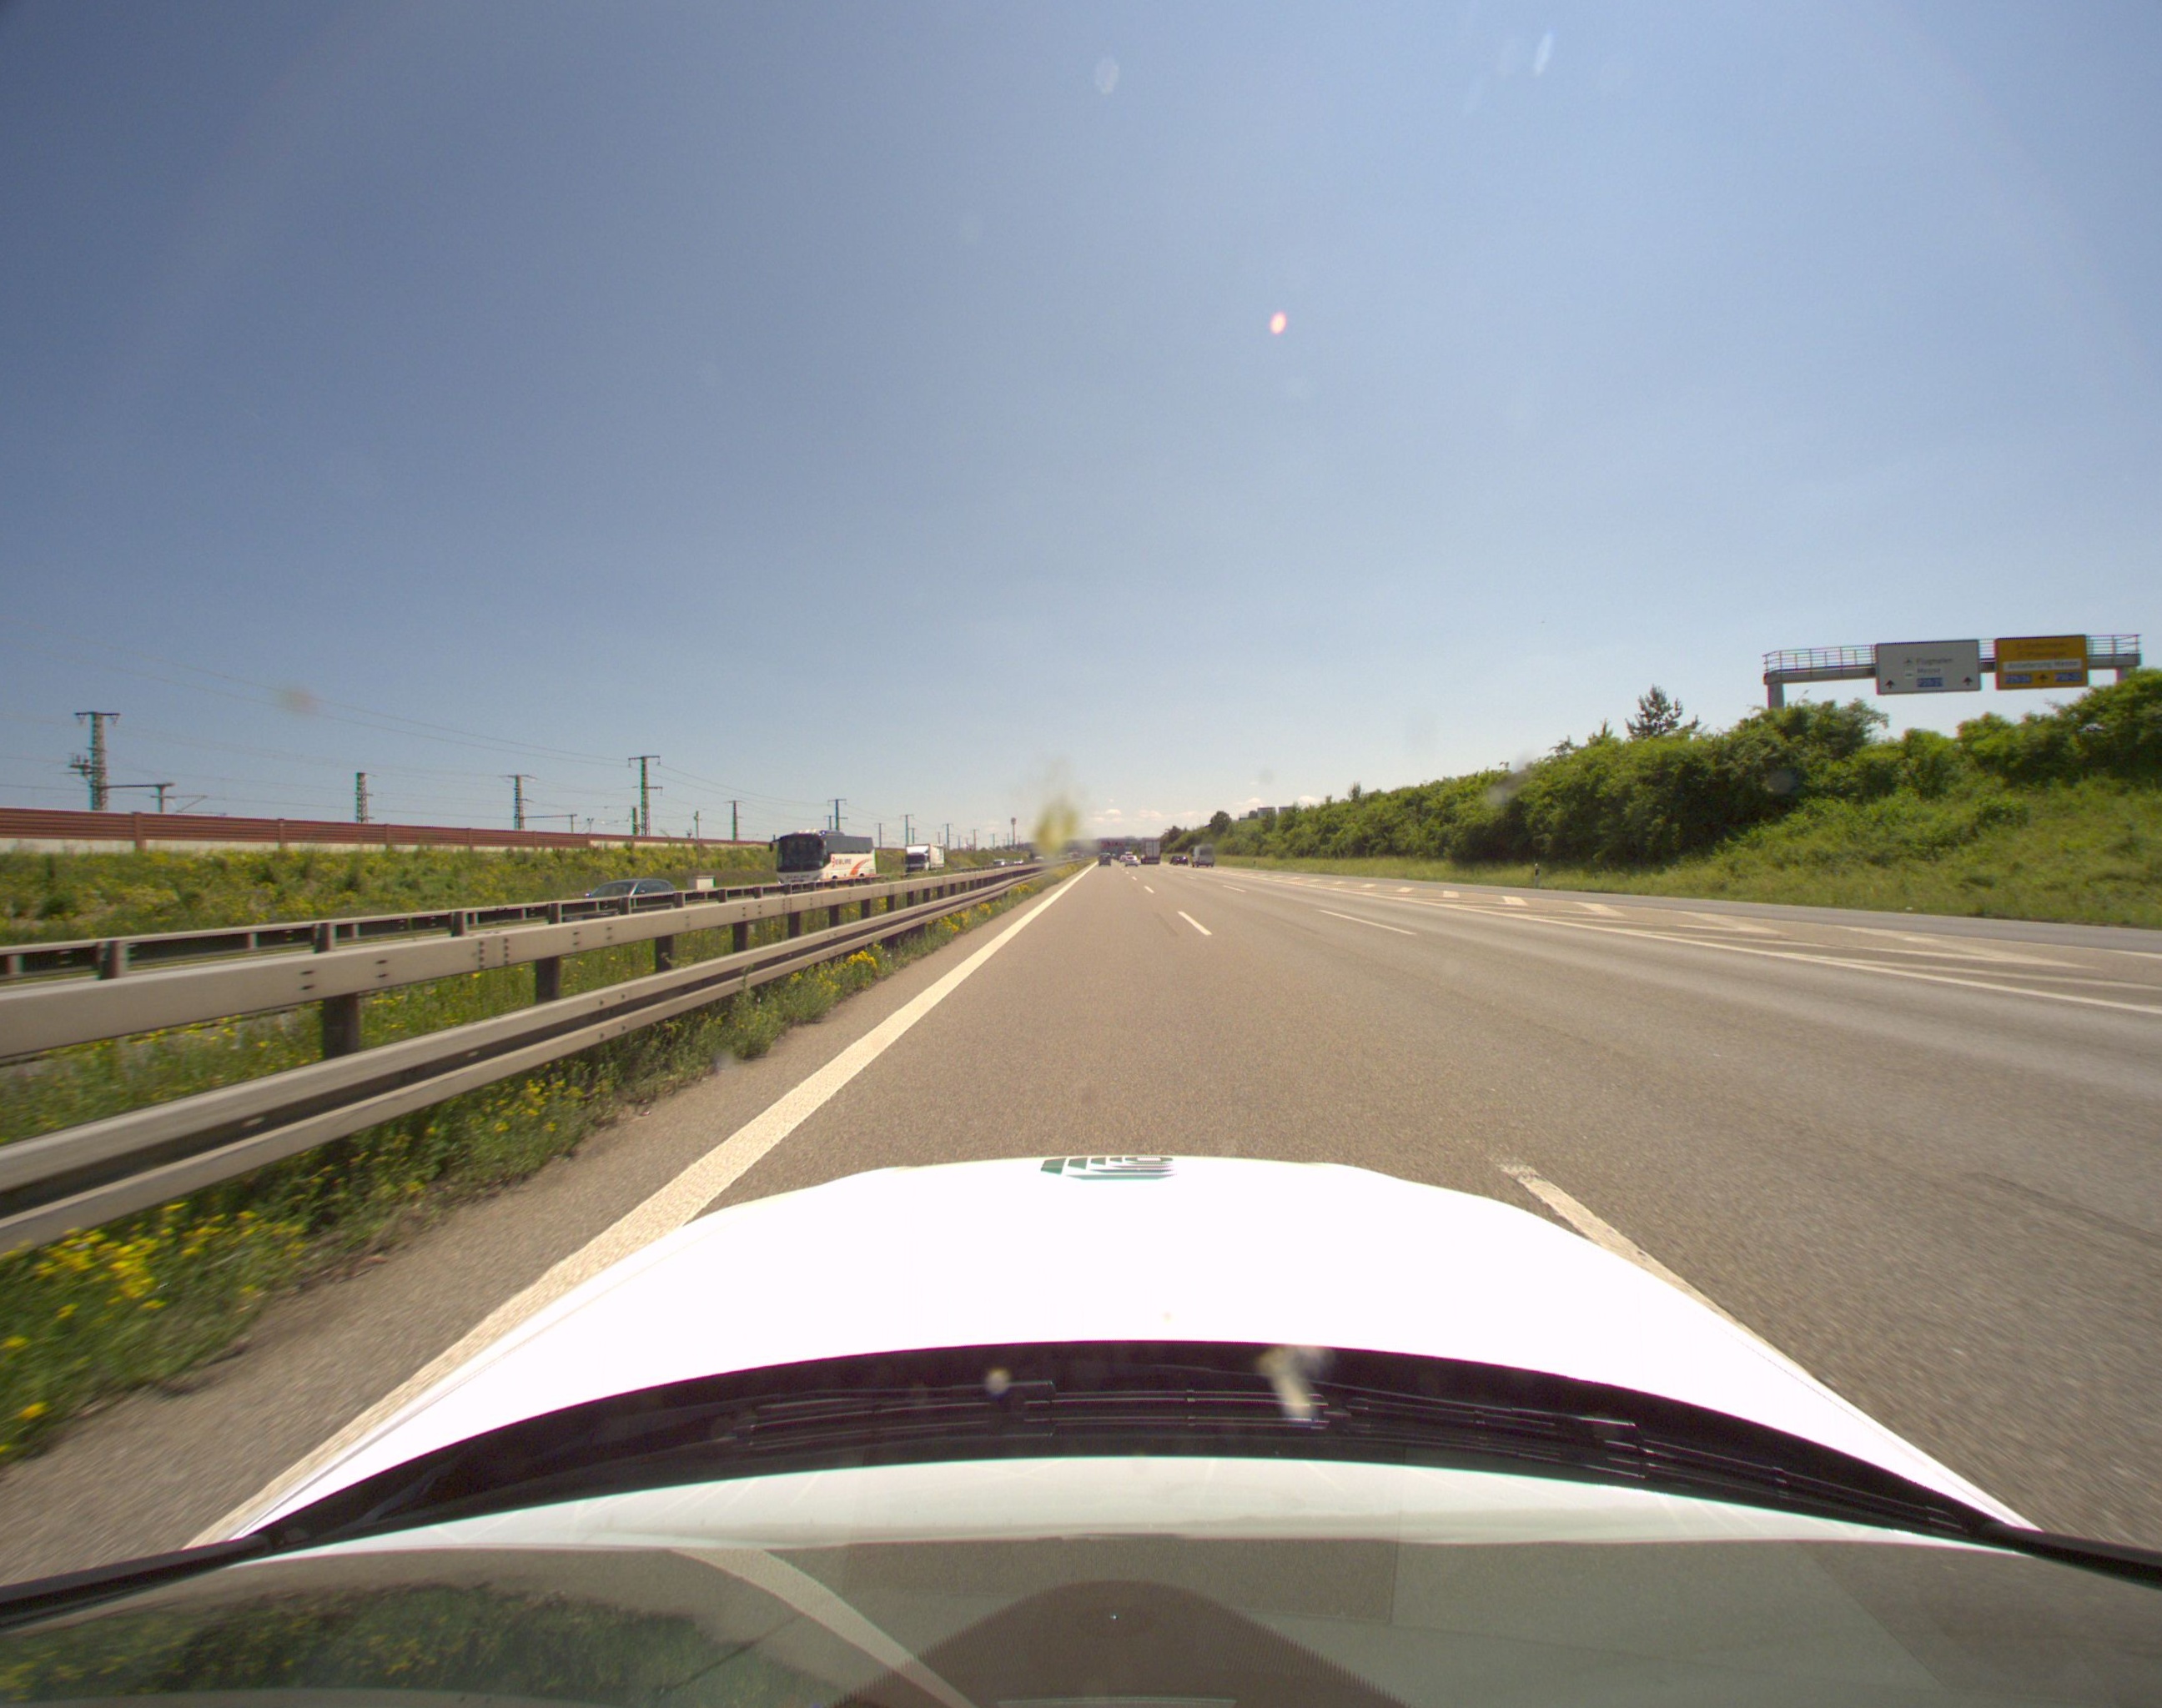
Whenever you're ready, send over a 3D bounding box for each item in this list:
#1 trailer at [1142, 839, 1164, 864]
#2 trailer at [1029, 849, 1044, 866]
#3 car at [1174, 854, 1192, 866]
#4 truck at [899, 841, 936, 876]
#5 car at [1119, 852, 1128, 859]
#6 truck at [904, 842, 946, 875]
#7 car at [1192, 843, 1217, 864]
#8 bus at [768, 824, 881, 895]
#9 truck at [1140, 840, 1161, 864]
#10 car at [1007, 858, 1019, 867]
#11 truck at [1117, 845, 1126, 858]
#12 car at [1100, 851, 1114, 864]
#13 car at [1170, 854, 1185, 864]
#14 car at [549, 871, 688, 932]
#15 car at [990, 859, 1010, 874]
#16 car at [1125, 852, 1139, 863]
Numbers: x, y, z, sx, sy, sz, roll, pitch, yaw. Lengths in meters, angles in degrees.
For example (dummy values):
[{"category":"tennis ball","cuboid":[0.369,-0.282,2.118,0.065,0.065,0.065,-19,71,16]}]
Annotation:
[{"category":"trailer","cuboid":[12.055,-0.414,137.331,3.165,4.059,9.443,-2,0,2]},{"category":"trailer","cuboid":[-10.351,0.842,190.032,3.040,3.868,7.205,-1,0,1]},{"category":"car","cuboid":[14.682,0.875,117.509,1.987,1.508,3.998,1,-2,-1]},{"category":"truck","cuboid":[-17.023,0.454,84.951,2.837,3.467,4.025,0,0,2]},{"category":"car","cuboid":[9.263,0.379,178.189,1.873,1.526,4.002,0,-1,3]},{"category":"truck","cuboid":[-16.893,0.475,88.670,2.847,3.467,7.784,0,0,2]},{"category":"car","cuboid":[14.993,-0.066,99.201,2.267,2.528,5.400,-1,0,1]},{"category":"bus","cuboid":[-14.652,0.296,47.739,2.846,3.645,10.944,0,0,2]},{"category":"truck","cuboid":[12.315,-0.361,144.771,3.165,4.059,9.443,-2,0,2]},{"category":"car","cuboid":[-15.432,1.937,185.306,1.986,2.014,4.496,-3,-2,2]},{"category":"truck","cuboid":[10.956,-0.605,223.032,2.346,3.416,6.060,-1,0,2]},{"category":"car","cuboid":[3.794,0.504,119.034,1.873,1.775,4.001,-2,-1,2]},{"category":"car","cuboid":[16.124,0.882,136.183,1.986,1.596,4.000,0,-2,1]},{"category":"car","cuboid":[-13.694,1.348,24.422,1.685,1.474,4.002,-4,0,2]},{"category":"car","cuboid":[-9.948,1.531,100.333,1.913,1.610,4.002,-3,0,2]},{"category":"car","cuboid":[6.989,0.511,111.742,1.872,1.526,4.005,0,-1,5]}]
